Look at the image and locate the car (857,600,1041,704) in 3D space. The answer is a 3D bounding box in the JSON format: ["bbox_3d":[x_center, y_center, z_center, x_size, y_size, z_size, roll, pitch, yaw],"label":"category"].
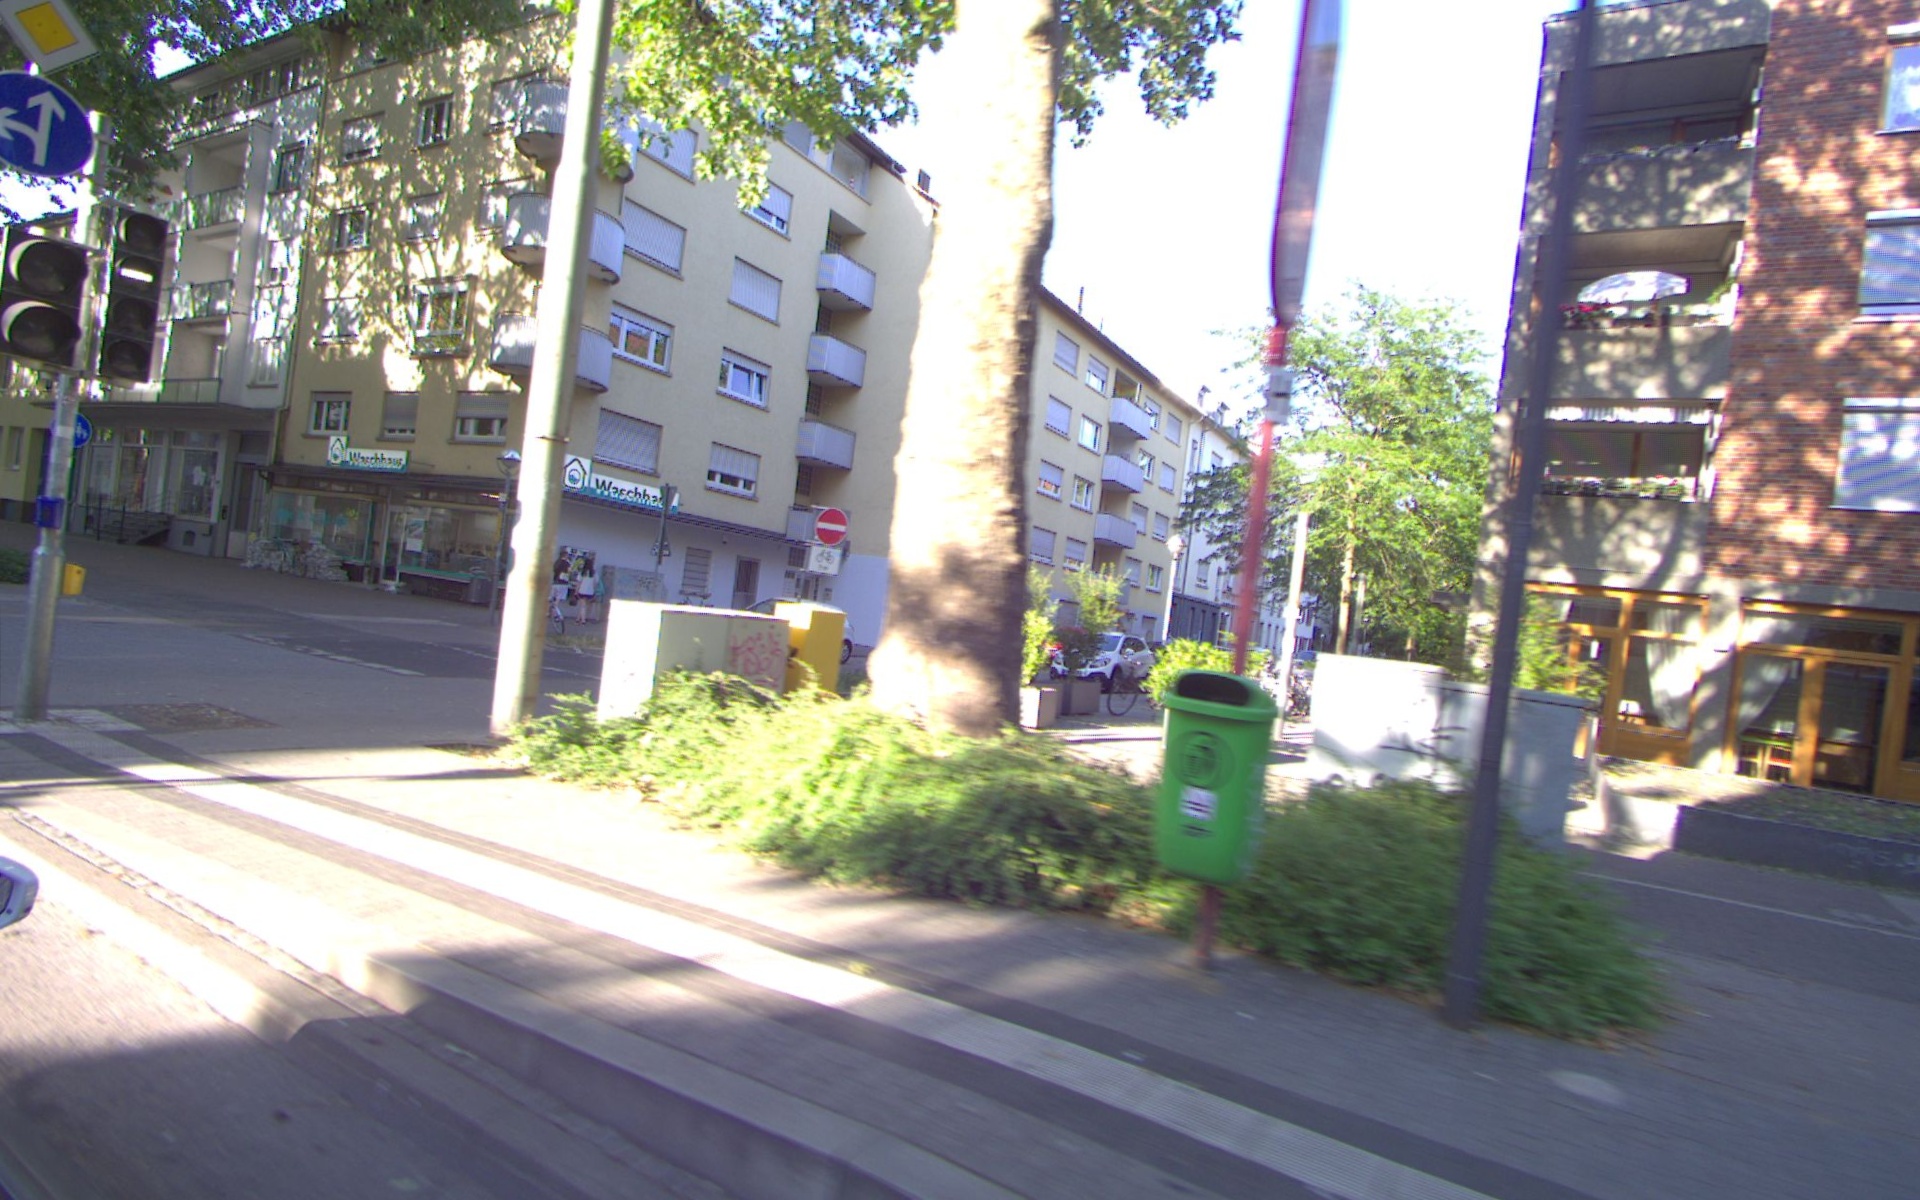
[{"bbox_3d":[-0.116,1.095,20.466,1.835,1.713,3.867,7,0,31],"label":"car"}]

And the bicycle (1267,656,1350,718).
[{"bbox_3d":[7.951,1.972,22.979,1.666,1.172,0.521,6,2,21],"label":"bicycle"}]

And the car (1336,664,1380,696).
[{"bbox_3d":[25.396,5.091,64.128,1.835,1.713,3.867,7,0,31],"label":"car"}]

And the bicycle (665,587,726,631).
[{"bbox_3d":[-7.695,0.276,29.293,0.592,1.171,1.693,7,1,31],"label":"bicycle"}]

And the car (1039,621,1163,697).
[{"bbox_3d":[3.900,1.638,27.327,1.835,1.713,3.867,7,0,31],"label":"car"}]

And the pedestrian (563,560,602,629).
[{"bbox_3d":[-9.117,-0.138,24.311,0.692,1.558,0.688,7,1,-18],"label":"pedestrian"}]

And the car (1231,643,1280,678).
[{"bbox_3d":[18.499,3.798,62.843,1.834,1.829,3.867,10,1,31],"label":"car"}]

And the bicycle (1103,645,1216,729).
[{"bbox_3d":[3.366,1.440,17.019,1.671,1.172,0.600,7,2,34],"label":"bicycle"}]

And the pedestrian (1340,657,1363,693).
[{"bbox_3d":[18.273,3.490,46.924,0.646,1.604,0.770,7,0,36],"label":"pedestrian"}]

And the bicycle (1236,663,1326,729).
[{"bbox_3d":[7.011,2.073,21.994,1.669,1.172,0.661,7,2,31],"label":"bicycle"}]

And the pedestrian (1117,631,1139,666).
[{"bbox_3d":[8.077,2.346,48.426,0.678,1.604,0.772,7,0,26],"label":"pedestrian"}]

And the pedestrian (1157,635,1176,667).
[{"bbox_3d":[10.925,2.677,53.171,0.678,1.604,0.772,7,0,26],"label":"pedestrian"}]

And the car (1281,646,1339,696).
[{"bbox_3d":[17.842,3.633,51.191,1.835,2.259,3.867,7,0,31],"label":"car"}]

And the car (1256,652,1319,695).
[{"bbox_3d":[15.378,3.466,47.144,1.835,1.713,3.867,7,0,31],"label":"car"}]

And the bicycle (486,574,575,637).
[{"bbox_3d":[-8.811,0.122,20.722,0.731,1.171,1.797,6,1,10],"label":"bicycle"}]

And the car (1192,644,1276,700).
[{"bbox_3d":[10.147,2.656,37.064,1.835,1.713,3.867,7,0,31],"label":"car"}]

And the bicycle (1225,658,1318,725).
[{"bbox_3d":[6.617,1.930,21.390,1.669,1.172,0.661,7,2,31],"label":"bicycle"}]

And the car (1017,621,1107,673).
[{"bbox_3d":[4.014,1.849,39.020,1.834,1.571,3.867,10,1,31],"label":"car"}]

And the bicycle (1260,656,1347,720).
[{"bbox_3d":[7.649,1.946,22.403,1.668,1.172,0.563,7,2,27],"label":"bicycle"}]

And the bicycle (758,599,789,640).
[{"bbox_3d":[-5.825,0.606,31.495,0.591,1.171,1.696,6,1,-3],"label":"bicycle"}]

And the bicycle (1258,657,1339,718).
[{"bbox_3d":[7.971,2.043,23.685,1.666,1.172,0.564,6,2,20],"label":"bicycle"}]

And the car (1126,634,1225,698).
[{"bbox_3d":[7.002,2.141,32.408,1.835,1.713,3.867,7,0,31],"label":"car"}]

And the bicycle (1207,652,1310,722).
[{"bbox_3d":[6.124,1.763,20.696,1.820,1.172,0.661,7,2,31],"label":"bicycle"}]

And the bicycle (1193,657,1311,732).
[{"bbox_3d":[5.737,1.825,19.820,2.017,1.172,0.731,7,2,32],"label":"bicycle"}]

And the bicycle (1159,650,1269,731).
[{"bbox_3d":[4.451,1.569,17.640,1.668,1.172,0.601,7,2,27],"label":"bicycle"}]

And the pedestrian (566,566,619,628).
[{"bbox_3d":[-9.323,-0.070,25.533,0.755,1.432,0.842,7,0,23],"label":"pedestrian"}]

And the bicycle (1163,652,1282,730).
[{"bbox_3d":[4.887,1.670,18.830,1.950,1.172,0.636,7,2,34],"label":"bicycle"}]

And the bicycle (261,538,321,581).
[{"bbox_3d":[-18.716,-1.127,28.133,1.749,1.010,0.571,7,2,27],"label":"bicycle"}]

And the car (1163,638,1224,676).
[{"bbox_3d":[12.299,3.031,52.875,1.834,1.571,3.867,10,1,31],"label":"car"}]

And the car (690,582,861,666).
[{"bbox_3d":[-4.403,0.631,24.532,1.834,1.571,3.867,10,1,31],"label":"car"}]

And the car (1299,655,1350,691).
[{"bbox_3d":[20.113,4.027,55.423,1.835,1.713,3.867,7,0,31],"label":"car"}]

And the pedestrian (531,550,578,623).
[{"bbox_3d":[-9.997,-0.324,24.826,0.649,1.703,0.703,7,1,4],"label":"pedestrian"}]
